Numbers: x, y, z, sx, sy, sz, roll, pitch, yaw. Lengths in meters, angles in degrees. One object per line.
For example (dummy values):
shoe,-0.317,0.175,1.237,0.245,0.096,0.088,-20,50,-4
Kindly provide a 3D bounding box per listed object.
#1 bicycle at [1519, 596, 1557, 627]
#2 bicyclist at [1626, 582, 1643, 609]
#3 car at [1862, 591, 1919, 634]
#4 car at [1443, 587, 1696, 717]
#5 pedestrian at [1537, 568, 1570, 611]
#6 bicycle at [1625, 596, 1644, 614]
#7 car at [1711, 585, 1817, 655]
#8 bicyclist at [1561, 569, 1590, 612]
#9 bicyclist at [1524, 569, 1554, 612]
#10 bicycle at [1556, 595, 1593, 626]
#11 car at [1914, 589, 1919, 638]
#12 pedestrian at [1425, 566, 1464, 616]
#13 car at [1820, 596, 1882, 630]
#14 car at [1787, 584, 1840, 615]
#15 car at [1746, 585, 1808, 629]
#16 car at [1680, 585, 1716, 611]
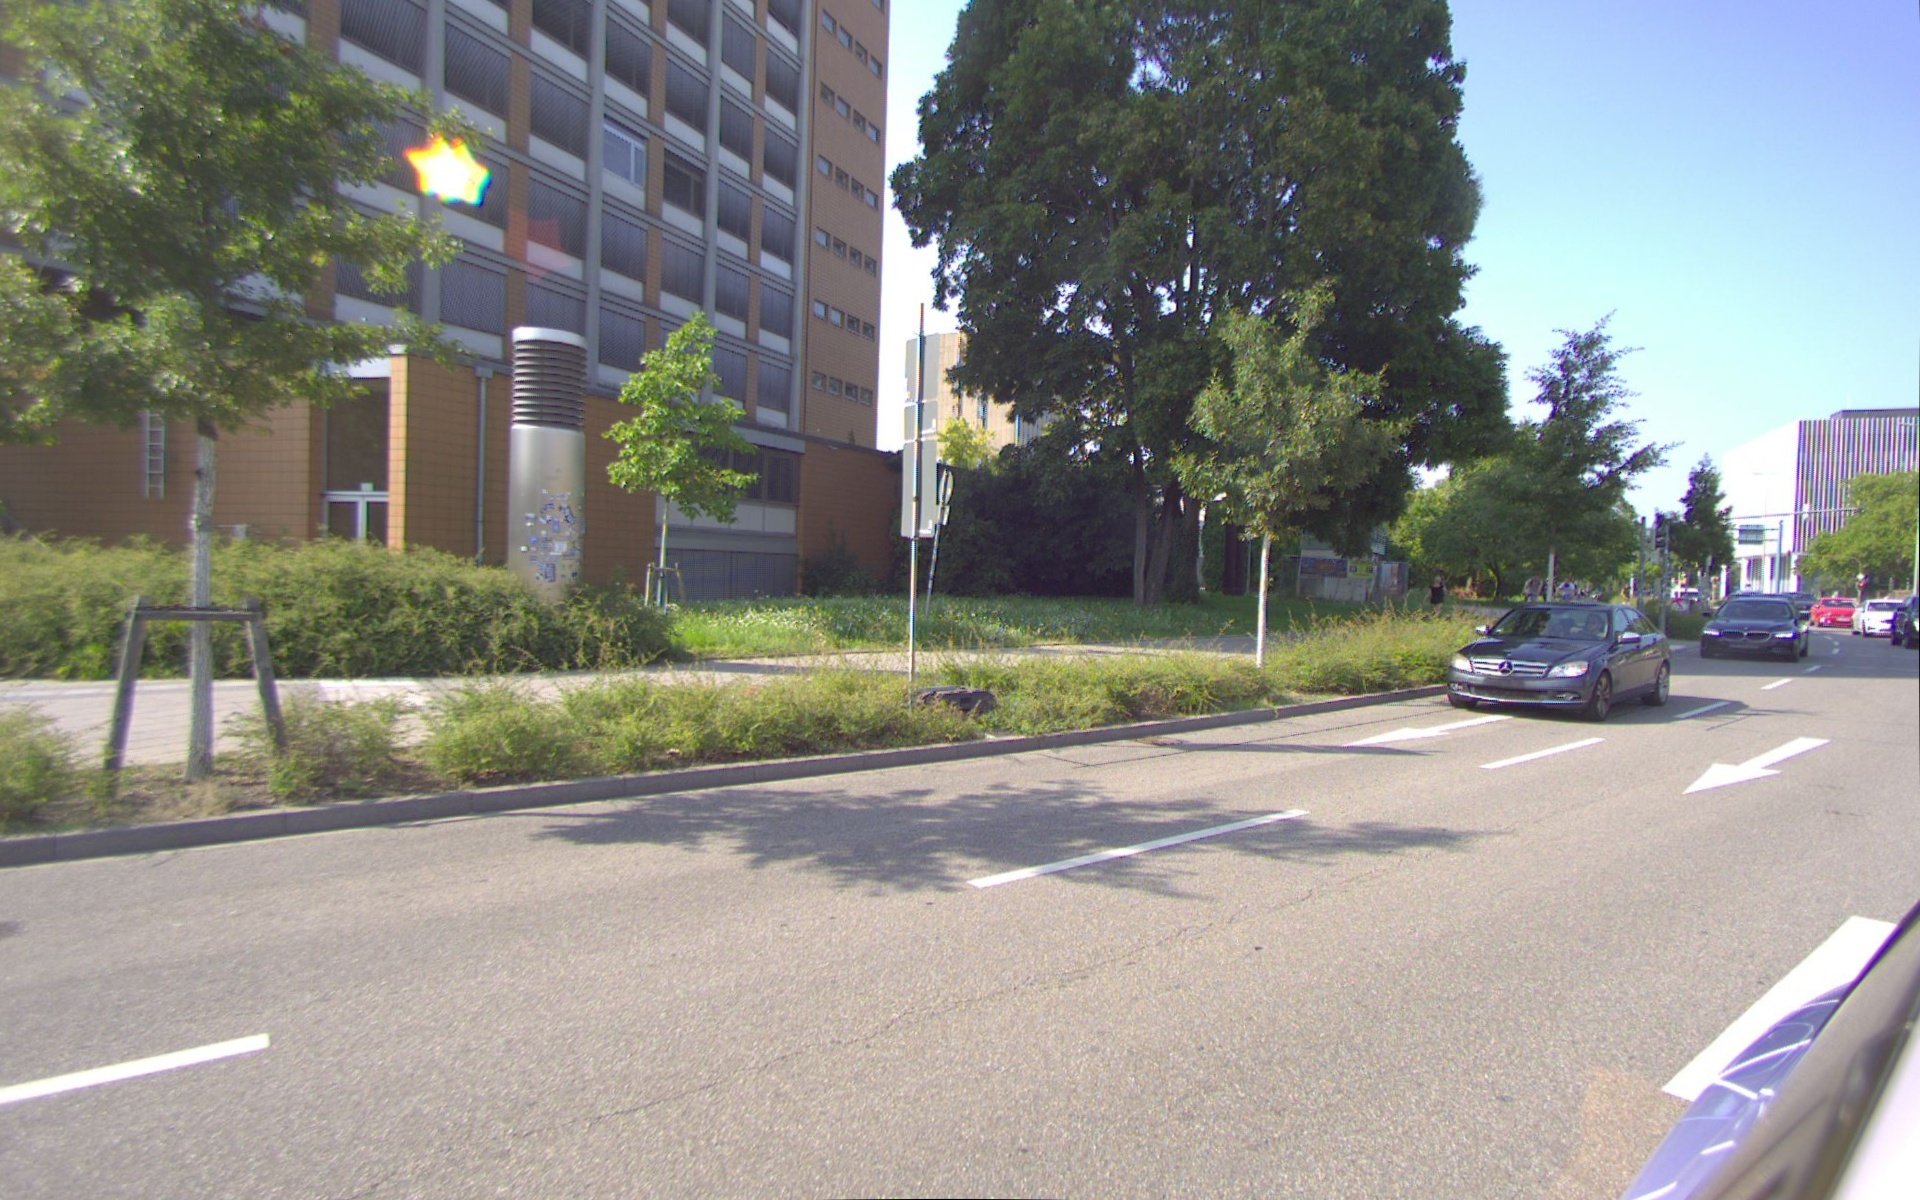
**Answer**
bicycle,22.128,0.420,38.746,0.771,1.131,2.268,2,2,42
bicyclist,42.459,-0.278,63.719,0.767,1.697,0.914,2,1,31
car,36.090,0.444,38.872,1.775,1.501,4.471,3,2,38
car,8.279,0.594,13.582,4.296,1.461,1.685,0,1,-41
pedestrian,25.889,-0.458,44.154,0.957,1.804,0.988,5,3,41
bicycle,42.438,0.304,63.714,0.767,1.131,2.280,2,1,29
car,19.715,0.434,24.747,1.682,1.510,4.601,3,2,42
bicyclist,24.062,-0.376,39.556,0.771,1.612,0.910,3,2,43
bicyclist,22.206,-0.380,38.804,0.771,1.613,0.910,2,1,43
bicycle,24.087,0.389,39.622,0.771,1.131,2.268,3,2,43
car,29.783,0.446,30.050,1.680,1.510,4.311,3,2,38
pedestrian,14.491,-0.286,30.261,0.841,1.461,0.727,1,2,-39
car,43.189,0.583,49.126,1.677,1.510,4.318,3,2,34
car,50.683,-0.053,60.168,1.771,1.713,4.479,3,2,33
car,33.674,0.253,41.784,1.774,1.625,4.363,3,3,37
car,58.057,-0.169,79.674,1.673,1.965,4.329,3,2,28
